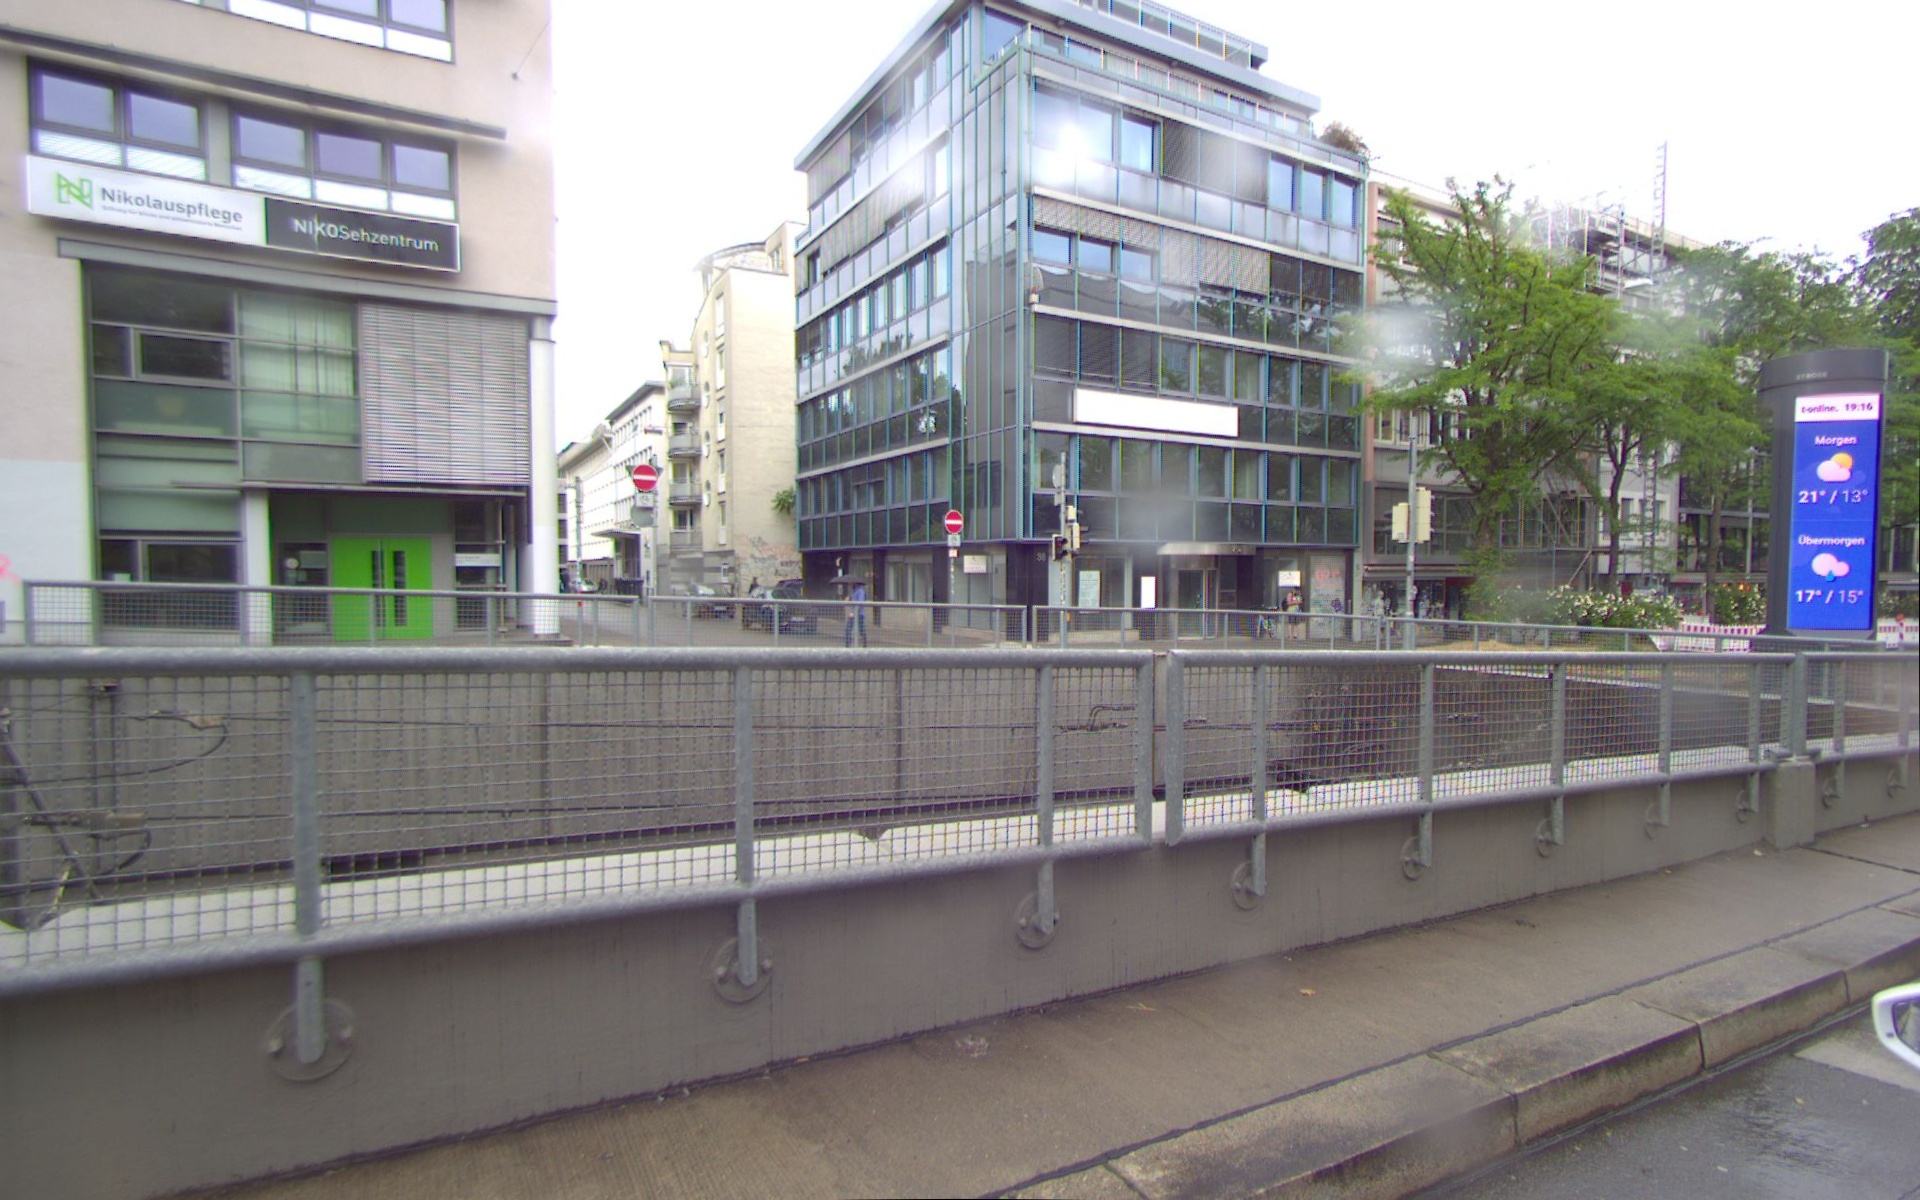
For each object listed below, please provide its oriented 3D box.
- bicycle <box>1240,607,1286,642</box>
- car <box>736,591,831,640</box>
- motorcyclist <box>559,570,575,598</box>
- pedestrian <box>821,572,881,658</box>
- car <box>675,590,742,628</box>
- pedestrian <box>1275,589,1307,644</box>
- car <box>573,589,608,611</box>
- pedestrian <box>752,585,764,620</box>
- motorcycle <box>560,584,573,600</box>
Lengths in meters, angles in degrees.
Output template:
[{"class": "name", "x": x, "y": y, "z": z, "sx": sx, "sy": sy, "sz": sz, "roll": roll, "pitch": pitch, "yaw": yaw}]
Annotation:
[{"class": "bicycle", "x": 9.874, "y": 0.804, "z": 32.726, "sx": 1.544, "sy": 1.100, "sz": 0.444, "roll": 1, "pitch": 1, "yaw": -27}, {"class": "car", "x": -6.236, "y": 0.504, "z": 35.174, "sx": 1.977, "sy": 1.578, "sz": 3.966, "roll": 1, "pitch": 0, "yaw": -31}, {"class": "motorcyclist", "x": -26.372, "y": -1.103, "z": 67.366, "sx": 0.850, "sy": 1.832, "sz": 1.007, "roll": 1, "pitch": 2, "yaw": -29}, {"class": "pedestrian", "x": -2.454, "y": 0.323, "z": 22.589, "sx": 1.047, "sy": 1.863, "sz": 0.853, "roll": 1, "pitch": 2, "yaw": -30}, {"class": "car", "x": -11.101, "y": 0.363, "z": 44.112, "sx": 1.777, "sy": 1.578, "sz": 3.966, "roll": 1, "pitch": 0, "yaw": -31}, {"class": "pedestrian", "x": 10.954, "y": 0.551, "z": 33.233, "sx": 0.688, "sy": 1.765, "sz": 0.691, "roll": 1, "pitch": 2, "yaw": -35}, {"class": "car", "x": -28.027, "y": -0.008, "z": 76.082, "sx": 1.777, "sy": 1.578, "sz": 3.967, "roll": 1, "pitch": 0, "yaw": -30}, {"class": "pedestrian", "x": -9.734, "y": 0.113, "z": 48.397, "sx": 0.443, "sy": 1.664, "sz": 0.326, "roll": 1, "pitch": 2, "yaw": -35}, {"class": "motorcycle", "x": -26.391, "y": -0.538, "z": 67.390, "sx": 0.696, "sy": 0.984, "sz": 0.977, "roll": 1, "pitch": 2, "yaw": -29}]
